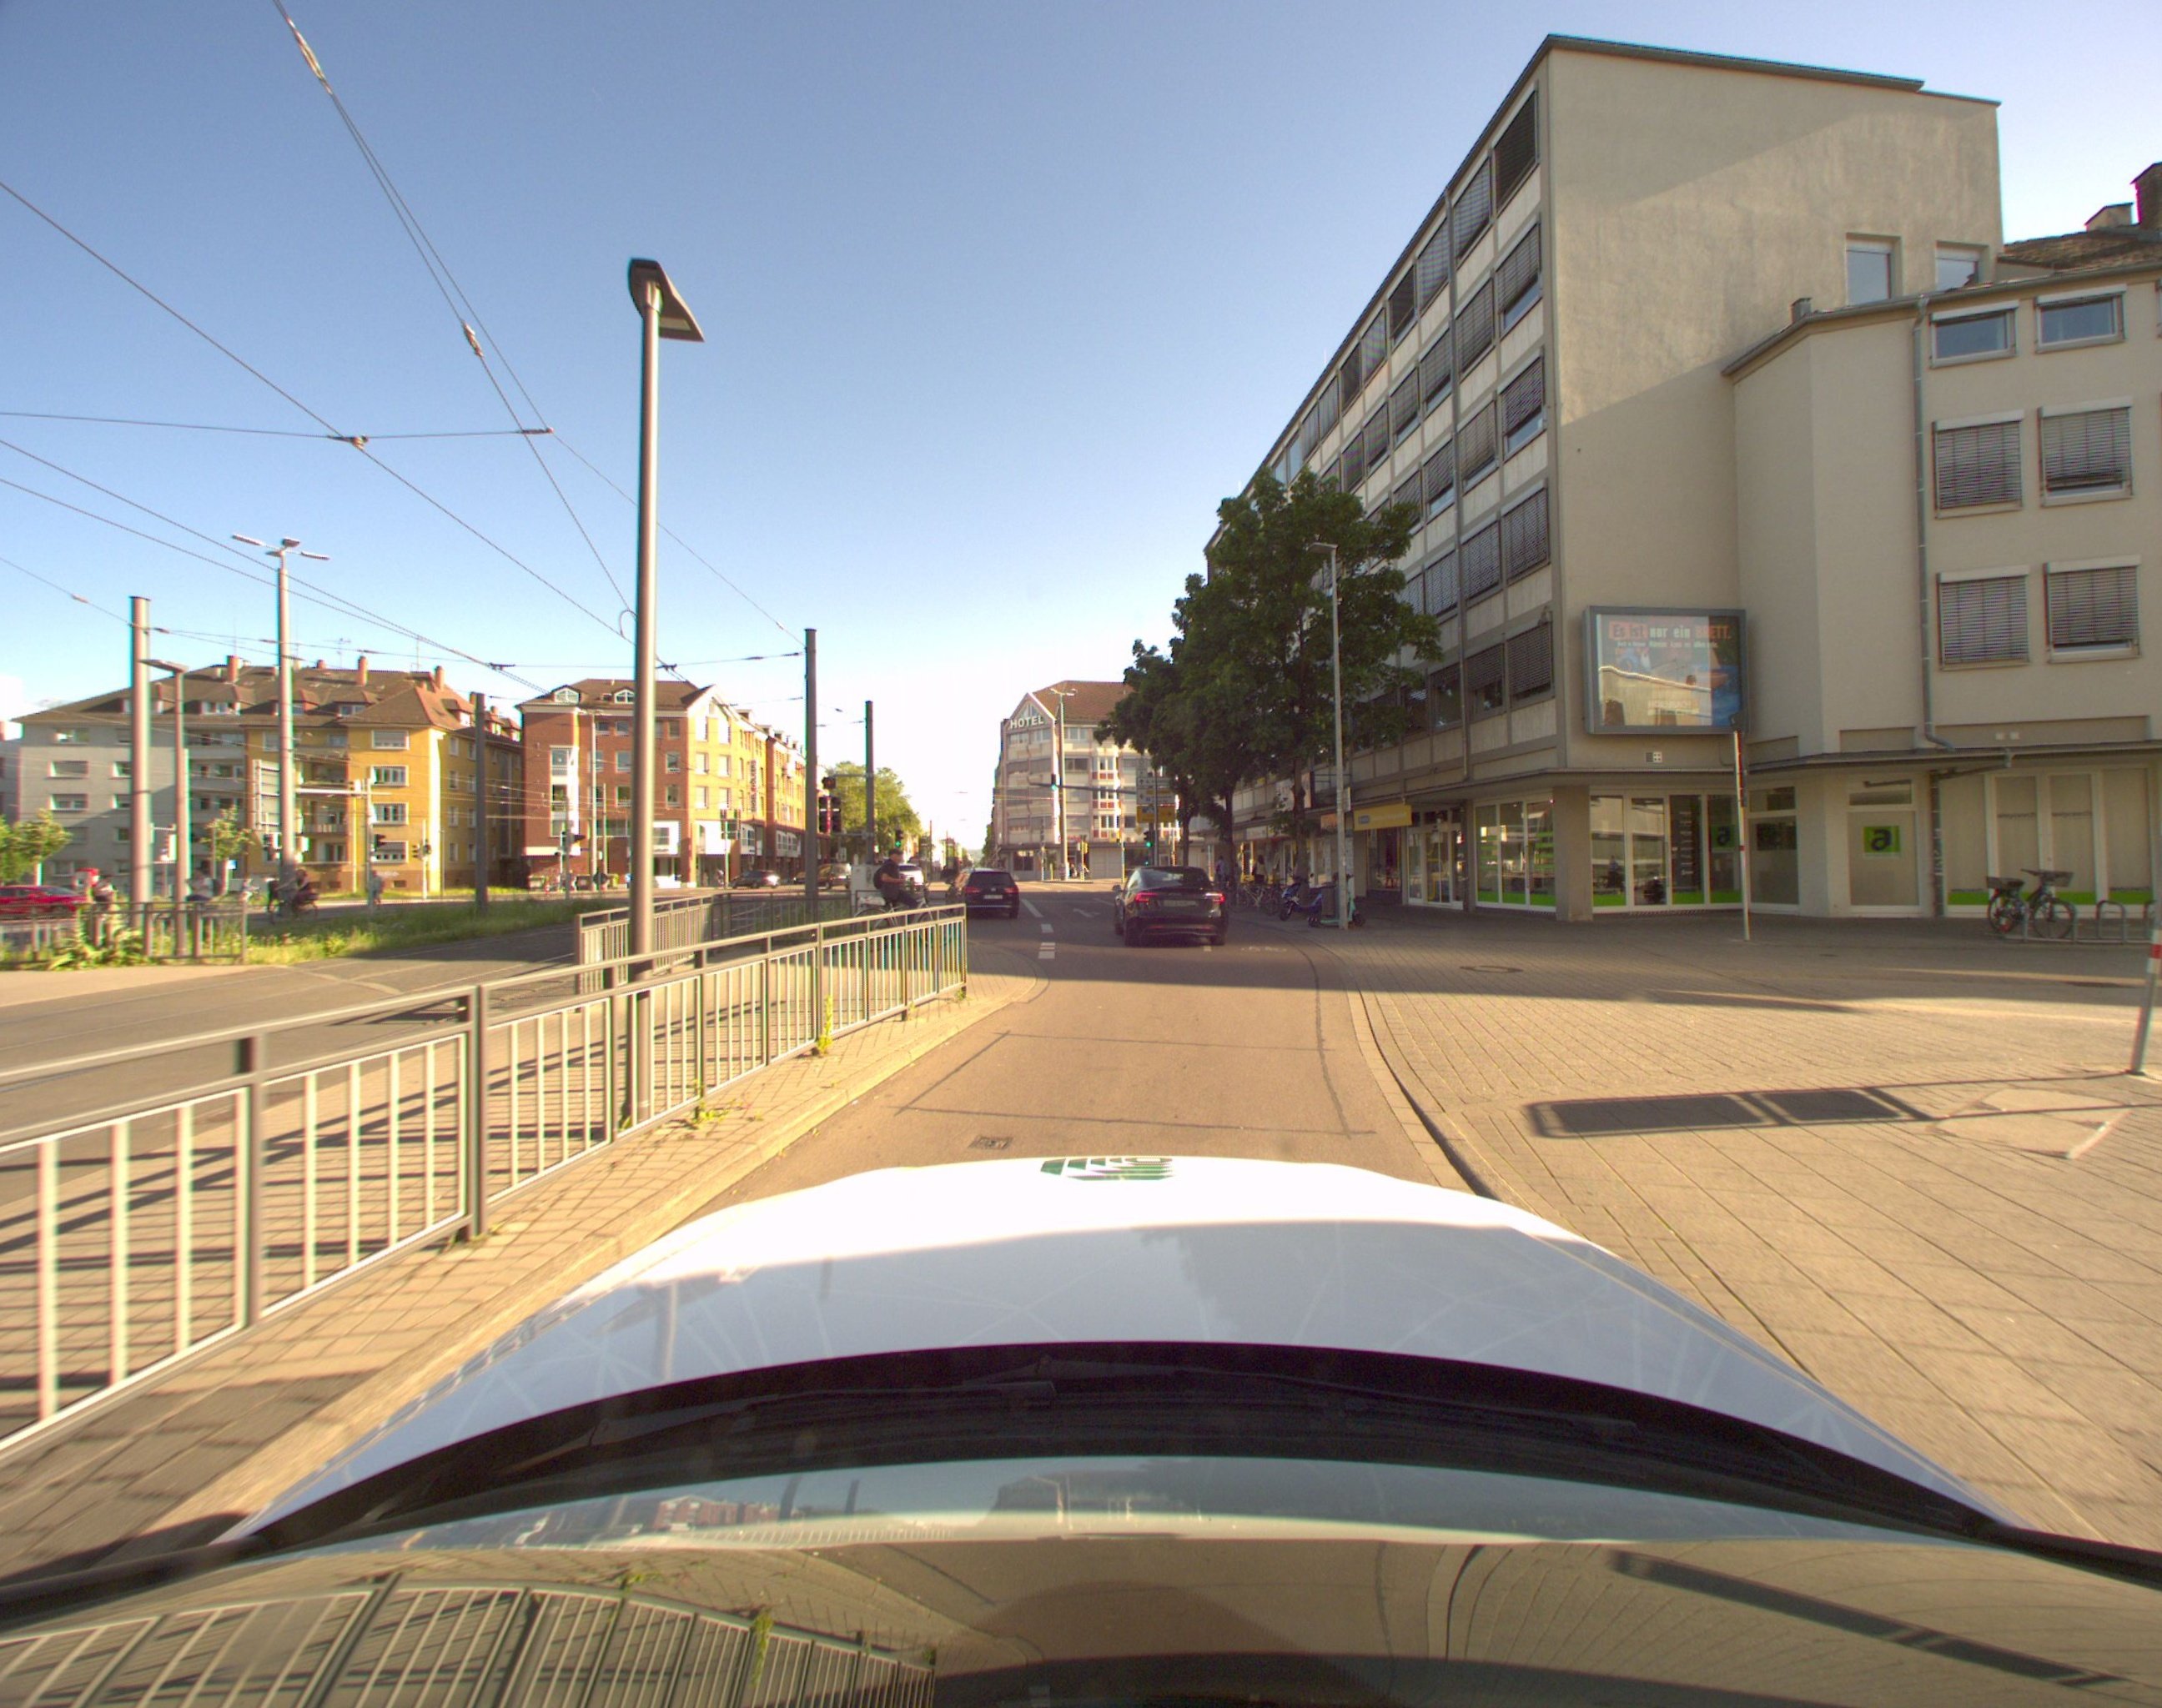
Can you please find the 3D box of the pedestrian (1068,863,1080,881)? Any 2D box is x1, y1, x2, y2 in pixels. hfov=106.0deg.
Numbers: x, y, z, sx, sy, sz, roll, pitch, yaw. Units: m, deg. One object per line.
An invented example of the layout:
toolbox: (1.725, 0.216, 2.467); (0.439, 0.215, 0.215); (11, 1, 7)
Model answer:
pedestrian: (-0.633, 1.596, 71.779); (0.782, 1.576, 0.862); (0, 0, -20)

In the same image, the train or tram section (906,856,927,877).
train or tram section: (-29.006, 2.227, 143.916); (2.726, 3.543, 10.061); (0, -1, -7)

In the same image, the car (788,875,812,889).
car: (-32.038, 3.151, 93.090); (1.816, 1.454, 3.966); (-3, -1, -8)

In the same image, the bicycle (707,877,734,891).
bicycle: (-30.774, 2.552, 69.535); (2.023, 1.223, 0.630); (-1, -1, 6)

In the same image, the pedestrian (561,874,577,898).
pedestrian: (-37.496, 2.324, 59.674); (0.695, 1.710, 0.926); (0, -1, -11)

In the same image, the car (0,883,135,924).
car: (-44.335, 2.134, 34.987); (4.558, 1.509, 1.773); (-2, -1, -15)

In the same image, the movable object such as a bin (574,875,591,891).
movable object such as a bin: (-45.653, 2.634, 74.553); (0.997, 1.437, 1.091); (0, -1, -14)

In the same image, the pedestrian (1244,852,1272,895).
pedestrian: (7.038, 0.776, 32.423); (0.841, 1.707, 0.878); (-1, -1, -5)

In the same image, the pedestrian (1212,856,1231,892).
pedestrian: (6.746, 0.952, 39.143); (0.838, 1.721, 0.882); (-1, -1, 7)

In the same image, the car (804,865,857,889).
car: (-17.238, 1.595, 56.049); (3.734, 1.618, 1.588); (-2, -2, 37)

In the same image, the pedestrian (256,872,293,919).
pedestrian: (-33.406, 1.713, 33.740); (0.717, 1.934, 0.801); (-1, -2, 15)

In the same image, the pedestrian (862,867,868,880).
pedestrian: (-26.129, 2.383, 98.613); (0.586, 1.531, 0.633); (0, -2, -22)

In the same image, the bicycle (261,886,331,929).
bicycle: (-25.320, 1.690, 26.325); (0.573, 1.291, 2.020); (0, -1, -10)

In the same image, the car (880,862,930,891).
car: (-10.530, 1.321, 48.596); (1.851, 1.635, 3.451); (0, -1, -31)

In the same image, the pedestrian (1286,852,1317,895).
pedestrian: (8.252, 0.730, 30.451); (0.841, 1.602, 0.878); (-1, -1, -5)

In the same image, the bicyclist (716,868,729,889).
bicyclist: (-30.612, 2.092, 69.537); (0.823, 1.772, 0.615); (-1, -1, 6)

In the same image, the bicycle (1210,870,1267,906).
bicycle: (5.317, 1.133, 27.490); (1.809, 1.151, 0.434); (-1, -1, -10)

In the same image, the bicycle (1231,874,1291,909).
bicycle: (5.631, 1.161, 25.495); (1.761, 1.057, 0.458); (-1, -1, 0)

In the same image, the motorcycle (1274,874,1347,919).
motorcycle: (6.031, 1.106, 21.441); (1.784, 1.130, 0.503); (-1, -1, -5)

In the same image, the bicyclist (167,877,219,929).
bicyclist: (-25.397, 1.385, 23.312); (0.662, 1.454, 0.730); (-1, -1, -2)

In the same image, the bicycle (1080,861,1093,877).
bicycle: (0.457, 1.345, 72.590); (0.584, 1.463, 1.674); (-1, -1, -20)

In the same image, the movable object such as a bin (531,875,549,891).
movable object such as a bin: (-49.068, 2.596, 73.838); (0.997, 1.437, 1.091); (0, -1, -14)

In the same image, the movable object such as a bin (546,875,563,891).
movable object such as a bin: (-47.916, 2.596, 74.179); (0.997, 1.437, 1.091); (0, -1, -14)

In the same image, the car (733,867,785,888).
car: (-24.528, 1.788, 62.048); (3.432, 1.551, 1.740); (-1, -1, 23)

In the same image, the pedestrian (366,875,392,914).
pedestrian: (-30.726, 1.759, 35.652); (0.626, 1.688, 0.702); (0, 0, -17)

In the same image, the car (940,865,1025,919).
car: (-3.060, 1.070, 24.518); (1.769, 1.444, 4.502); (0, -1, -17)

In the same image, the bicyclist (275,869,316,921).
bicyclist: (-25.294, 1.302, 26.229); (0.589, 1.649, 0.803); (0, -1, -12)

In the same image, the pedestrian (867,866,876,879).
pedestrian: (-27.759, 2.469, 107.942); (1.107, 1.625, 0.843); (0, -1, -16)

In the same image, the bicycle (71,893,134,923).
bicycle: (-39.710, 2.185, 33.062); (1.500, 1.133, 0.608); (0, -2, -19)

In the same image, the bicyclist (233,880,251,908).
bicyclist: (-40.459, 1.942, 39.289); (0.460, 1.316, 0.397); (0, -2, -21)

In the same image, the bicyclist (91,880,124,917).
bicyclist: (-39.586, 1.806, 33.120); (0.616, 1.493, 0.606); (0, -2, -19)

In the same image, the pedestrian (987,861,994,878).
pedestrian: (-9.489, 1.635, 85.488); (0.626, 1.782, 0.915); (0, -1, -9)

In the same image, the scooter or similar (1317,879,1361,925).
scooter or similar: (6.043, 1.126, 19.065); (0.961, 1.043, 0.159); (-1, -1, -3)

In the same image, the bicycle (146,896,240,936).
bicycle: (-25.377, 1.757, 23.320); (0.648, 1.013, 1.883); (-1, -1, -3)

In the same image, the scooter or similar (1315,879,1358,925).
scooter or similar: (6.035, 1.131, 19.263); (0.954, 1.039, 0.159); (-1, -1, -3)

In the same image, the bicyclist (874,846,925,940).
bicyclist: (-3.035, 0.637, 13.599); (0.685, 1.523, 0.629); (0, -2, -29)

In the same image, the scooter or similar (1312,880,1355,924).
scooter or similar: (6.027, 1.145, 19.463); (0.961, 1.027, 0.159); (-1, -1, -3)

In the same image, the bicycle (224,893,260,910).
bicycle: (-40.448, 2.272, 39.264); (1.176, 0.764, 0.318); (0, -2, -21)

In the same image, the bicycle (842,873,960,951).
bicycle: (-2.997, 0.928, 13.607); (1.831, 1.212, 0.635); (0, -2, -29)

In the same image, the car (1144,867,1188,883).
car: (8.204, 2.032, 78.915); (3.841, 1.432, 1.797); (-1, -3, -10)

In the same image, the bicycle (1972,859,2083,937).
bicycle: (16.001, 0.711, 13.817); (0.438, 1.160, 1.508); (-1, 2, 15)

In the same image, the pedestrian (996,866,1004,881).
pedestrian: (-9.510, 2.301, 95.217); (0.913, 1.755, 0.837); (0, -1, -6)

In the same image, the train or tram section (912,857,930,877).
train or tram section: (-30.202, 2.435, 153.927); (2.711, 3.546, 10.142); (0, -1, -7)

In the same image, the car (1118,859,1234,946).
car: (1.674, 0.880, 15.629); (1.784, 1.451, 3.939); (-1, -2, 0)

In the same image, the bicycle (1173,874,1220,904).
bicycle: (4.897, 1.483, 34.535); (1.886, 1.156, 0.479); (-3, -1, -5)

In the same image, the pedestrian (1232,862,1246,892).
pedestrian: (7.540, 1.076, 38.884); (0.640, 1.422, 0.623); (-1, -2, 13)

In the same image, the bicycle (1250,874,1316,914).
bicycle: (5.826, 1.130, 23.441); (1.854, 1.056, 0.397); (-2, -1, -16)
